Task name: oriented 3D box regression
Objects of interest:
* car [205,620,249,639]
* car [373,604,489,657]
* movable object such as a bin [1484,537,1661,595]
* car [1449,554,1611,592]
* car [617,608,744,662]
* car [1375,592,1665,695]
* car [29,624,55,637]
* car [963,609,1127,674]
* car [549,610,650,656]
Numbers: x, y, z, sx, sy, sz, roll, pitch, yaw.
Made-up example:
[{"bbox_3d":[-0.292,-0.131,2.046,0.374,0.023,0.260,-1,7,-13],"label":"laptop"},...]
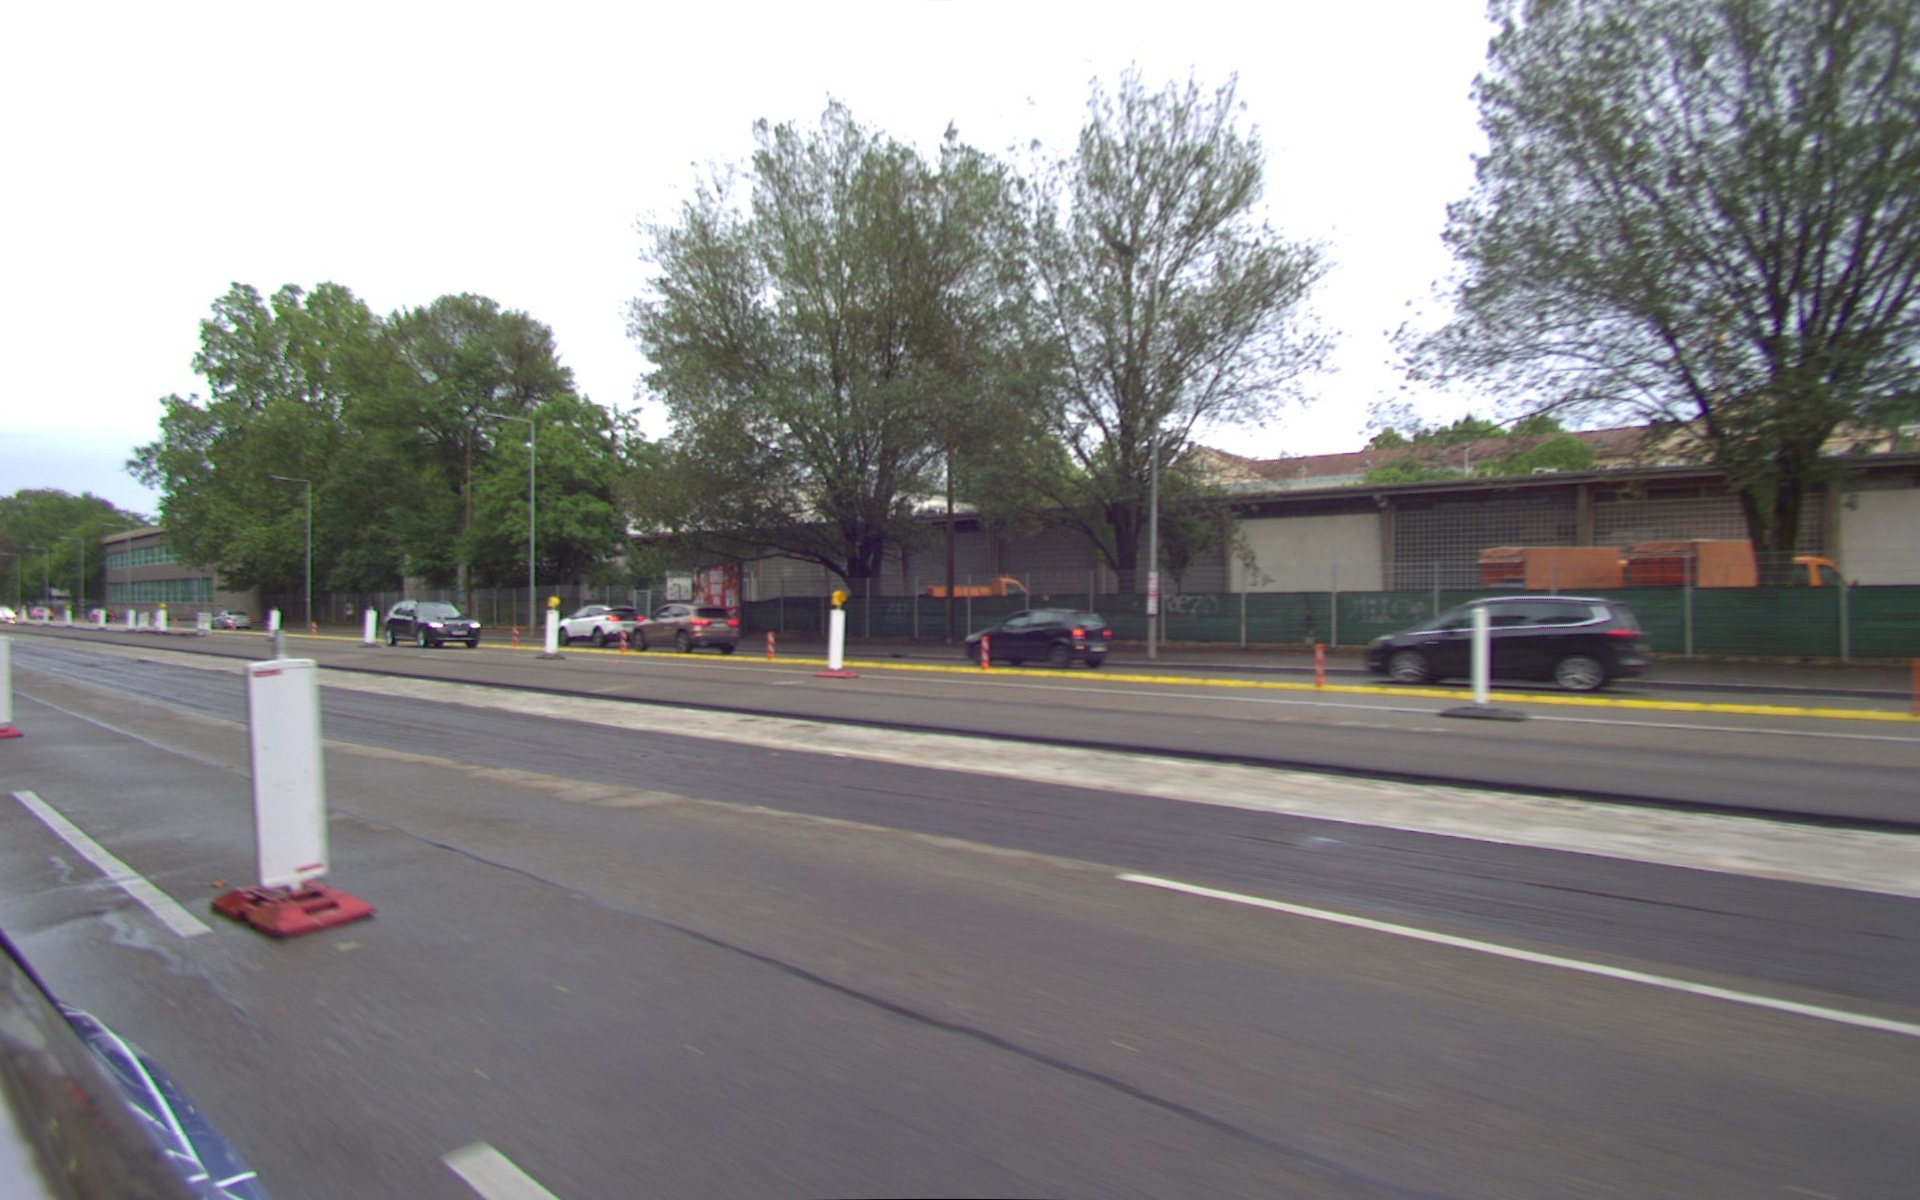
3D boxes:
[{"bbox_3d":[-53.591,2.142,73.969,4.453,1.325,1.649,-1,-3,42],"label":"car"},{"bbox_3d":[-18.843,1.118,35.947,4.982,1.719,1.972,-2,-5,42],"label":"car"},{"bbox_3d":[17.210,-0.937,28.518,3.961,1.539,1.756,0,-1,-6],"label":"movable object such as a bin"},{"bbox_3d":[17.193,-0.802,30.632,3.961,1.070,1.756,0,-1,-6],"label":"car"},{"bbox_3d":[-9.074,1.113,32.664,4.363,1.631,1.839,-1,-3,41],"label":"car"},{"bbox_3d":[10.039,0.754,18.347,4.327,1.642,1.839,-1,-3,41],"label":"car"},{"bbox_3d":[-107.693,3.534,118.735,4.146,1.445,1.817,-1,0,41],"label":"car"},{"bbox_3d":[2.088,1.009,25.264,3.730,1.487,1.839,-1,-3,41],"label":"car"},{"bbox_3d":[-14.186,1.298,39.724,4.363,1.719,1.839,-1,-3,41],"label":"car"}]
